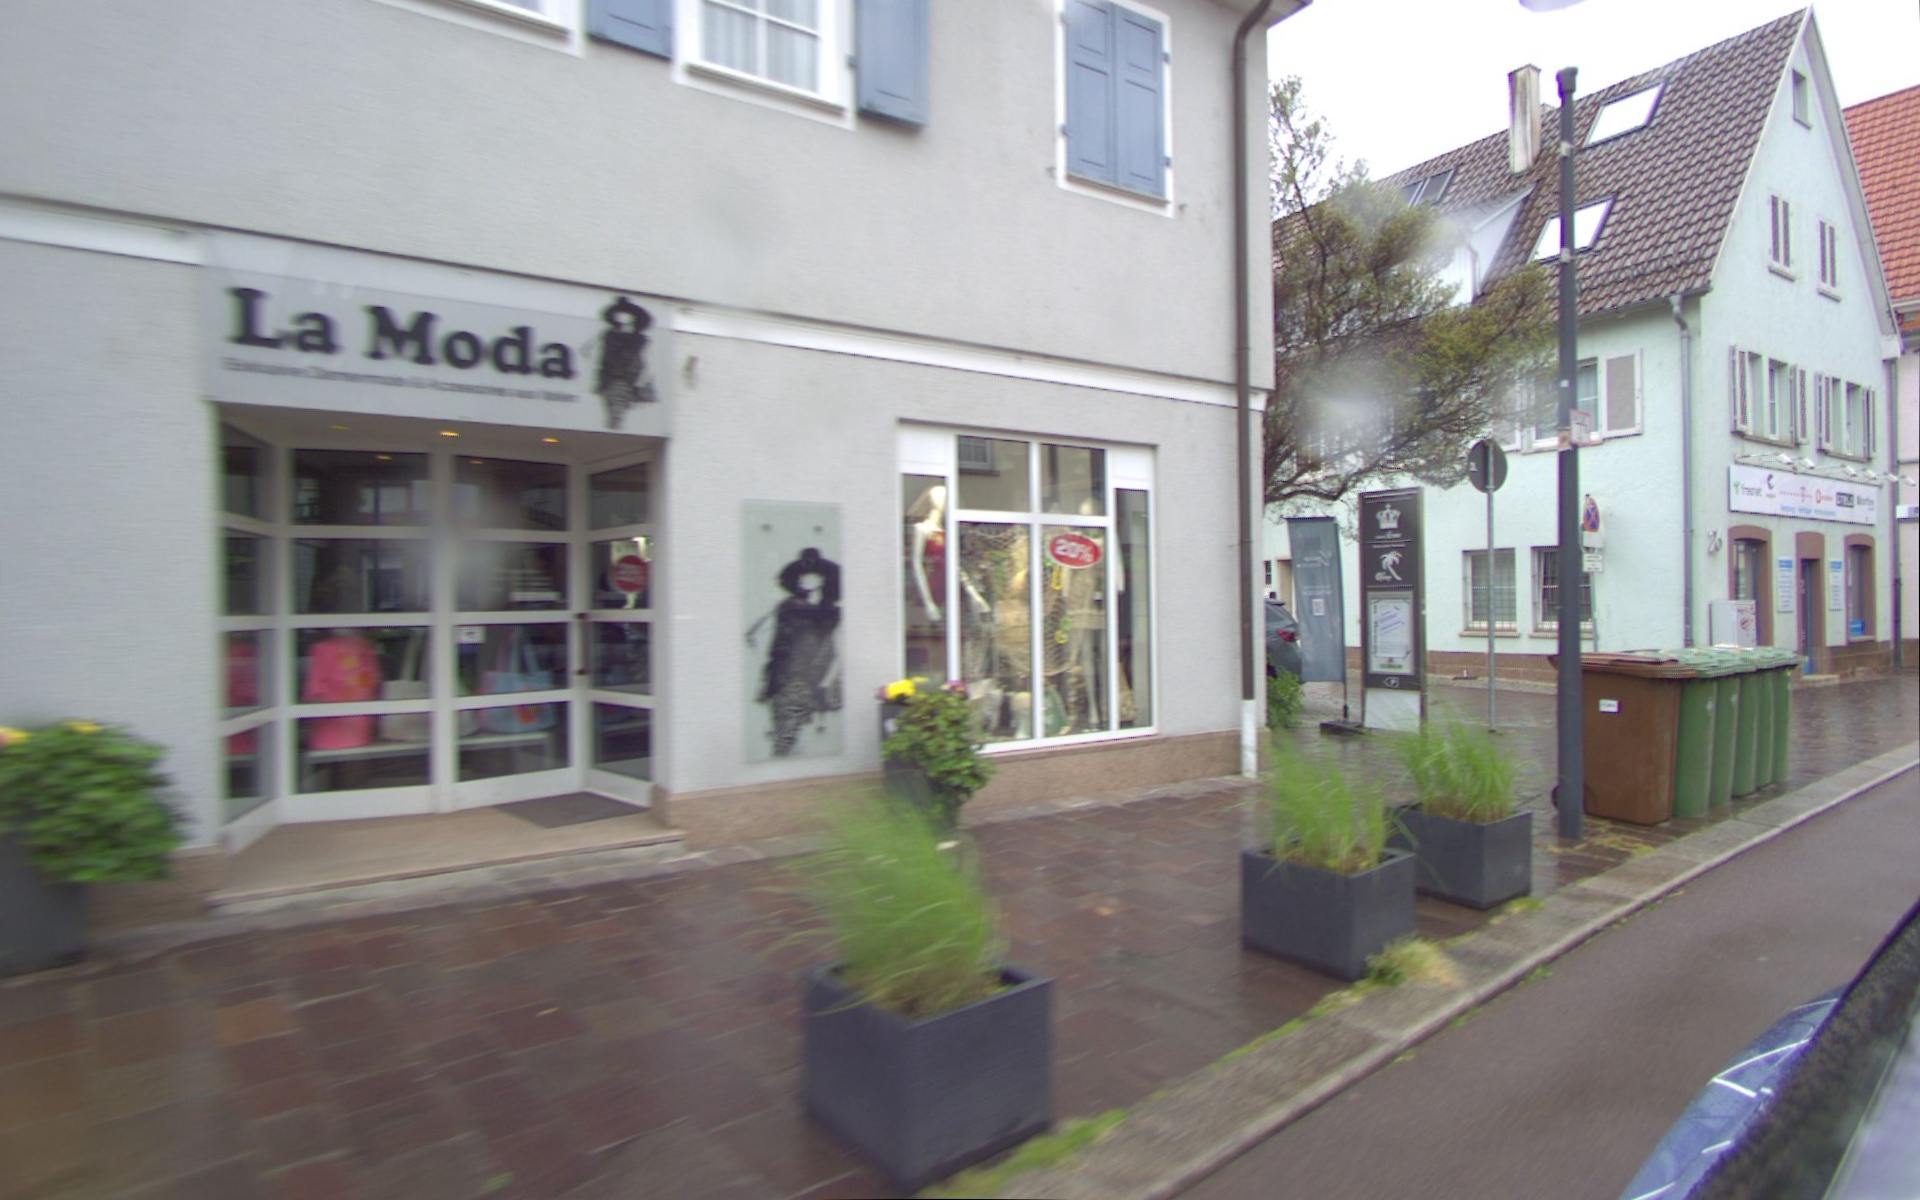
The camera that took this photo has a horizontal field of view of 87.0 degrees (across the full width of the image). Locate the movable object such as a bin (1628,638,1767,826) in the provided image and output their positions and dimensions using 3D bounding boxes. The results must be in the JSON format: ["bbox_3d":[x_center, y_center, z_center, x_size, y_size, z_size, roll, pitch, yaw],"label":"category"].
[{"bbox_3d":[5.387,0.924,7.401,0.554,1.248,0.680,-1,0,-37],"label":"movable object such as a bin"}]

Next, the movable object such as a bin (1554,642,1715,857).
[{"bbox_3d":[4.434,0.932,6.661,0.718,1.256,0.680,-1,0,-37],"label":"movable object such as a bin"}]

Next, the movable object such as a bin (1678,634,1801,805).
[{"bbox_3d":[6.235,0.921,8.103,0.533,1.261,0.660,-1,0,-37],"label":"movable object such as a bin"}]

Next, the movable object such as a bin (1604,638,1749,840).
[{"bbox_3d":[4.964,0.921,7.025,0.554,1.266,0.680,-1,0,-37],"label":"movable object such as a bin"}]

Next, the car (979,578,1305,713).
[{"bbox_3d":[2.467,0.590,14.463,4.281,1.676,1.823,2,1,4],"label":"car"}]

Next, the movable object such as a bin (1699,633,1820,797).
[{"bbox_3d":[6.684,0.925,8.464,0.610,1.254,0.660,-1,0,-37],"label":"movable object such as a bin"}]

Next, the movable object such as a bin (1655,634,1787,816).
[{"bbox_3d":[5.819,0.919,7.750,0.533,1.272,0.680,-1,0,-37],"label":"movable object such as a bin"}]
